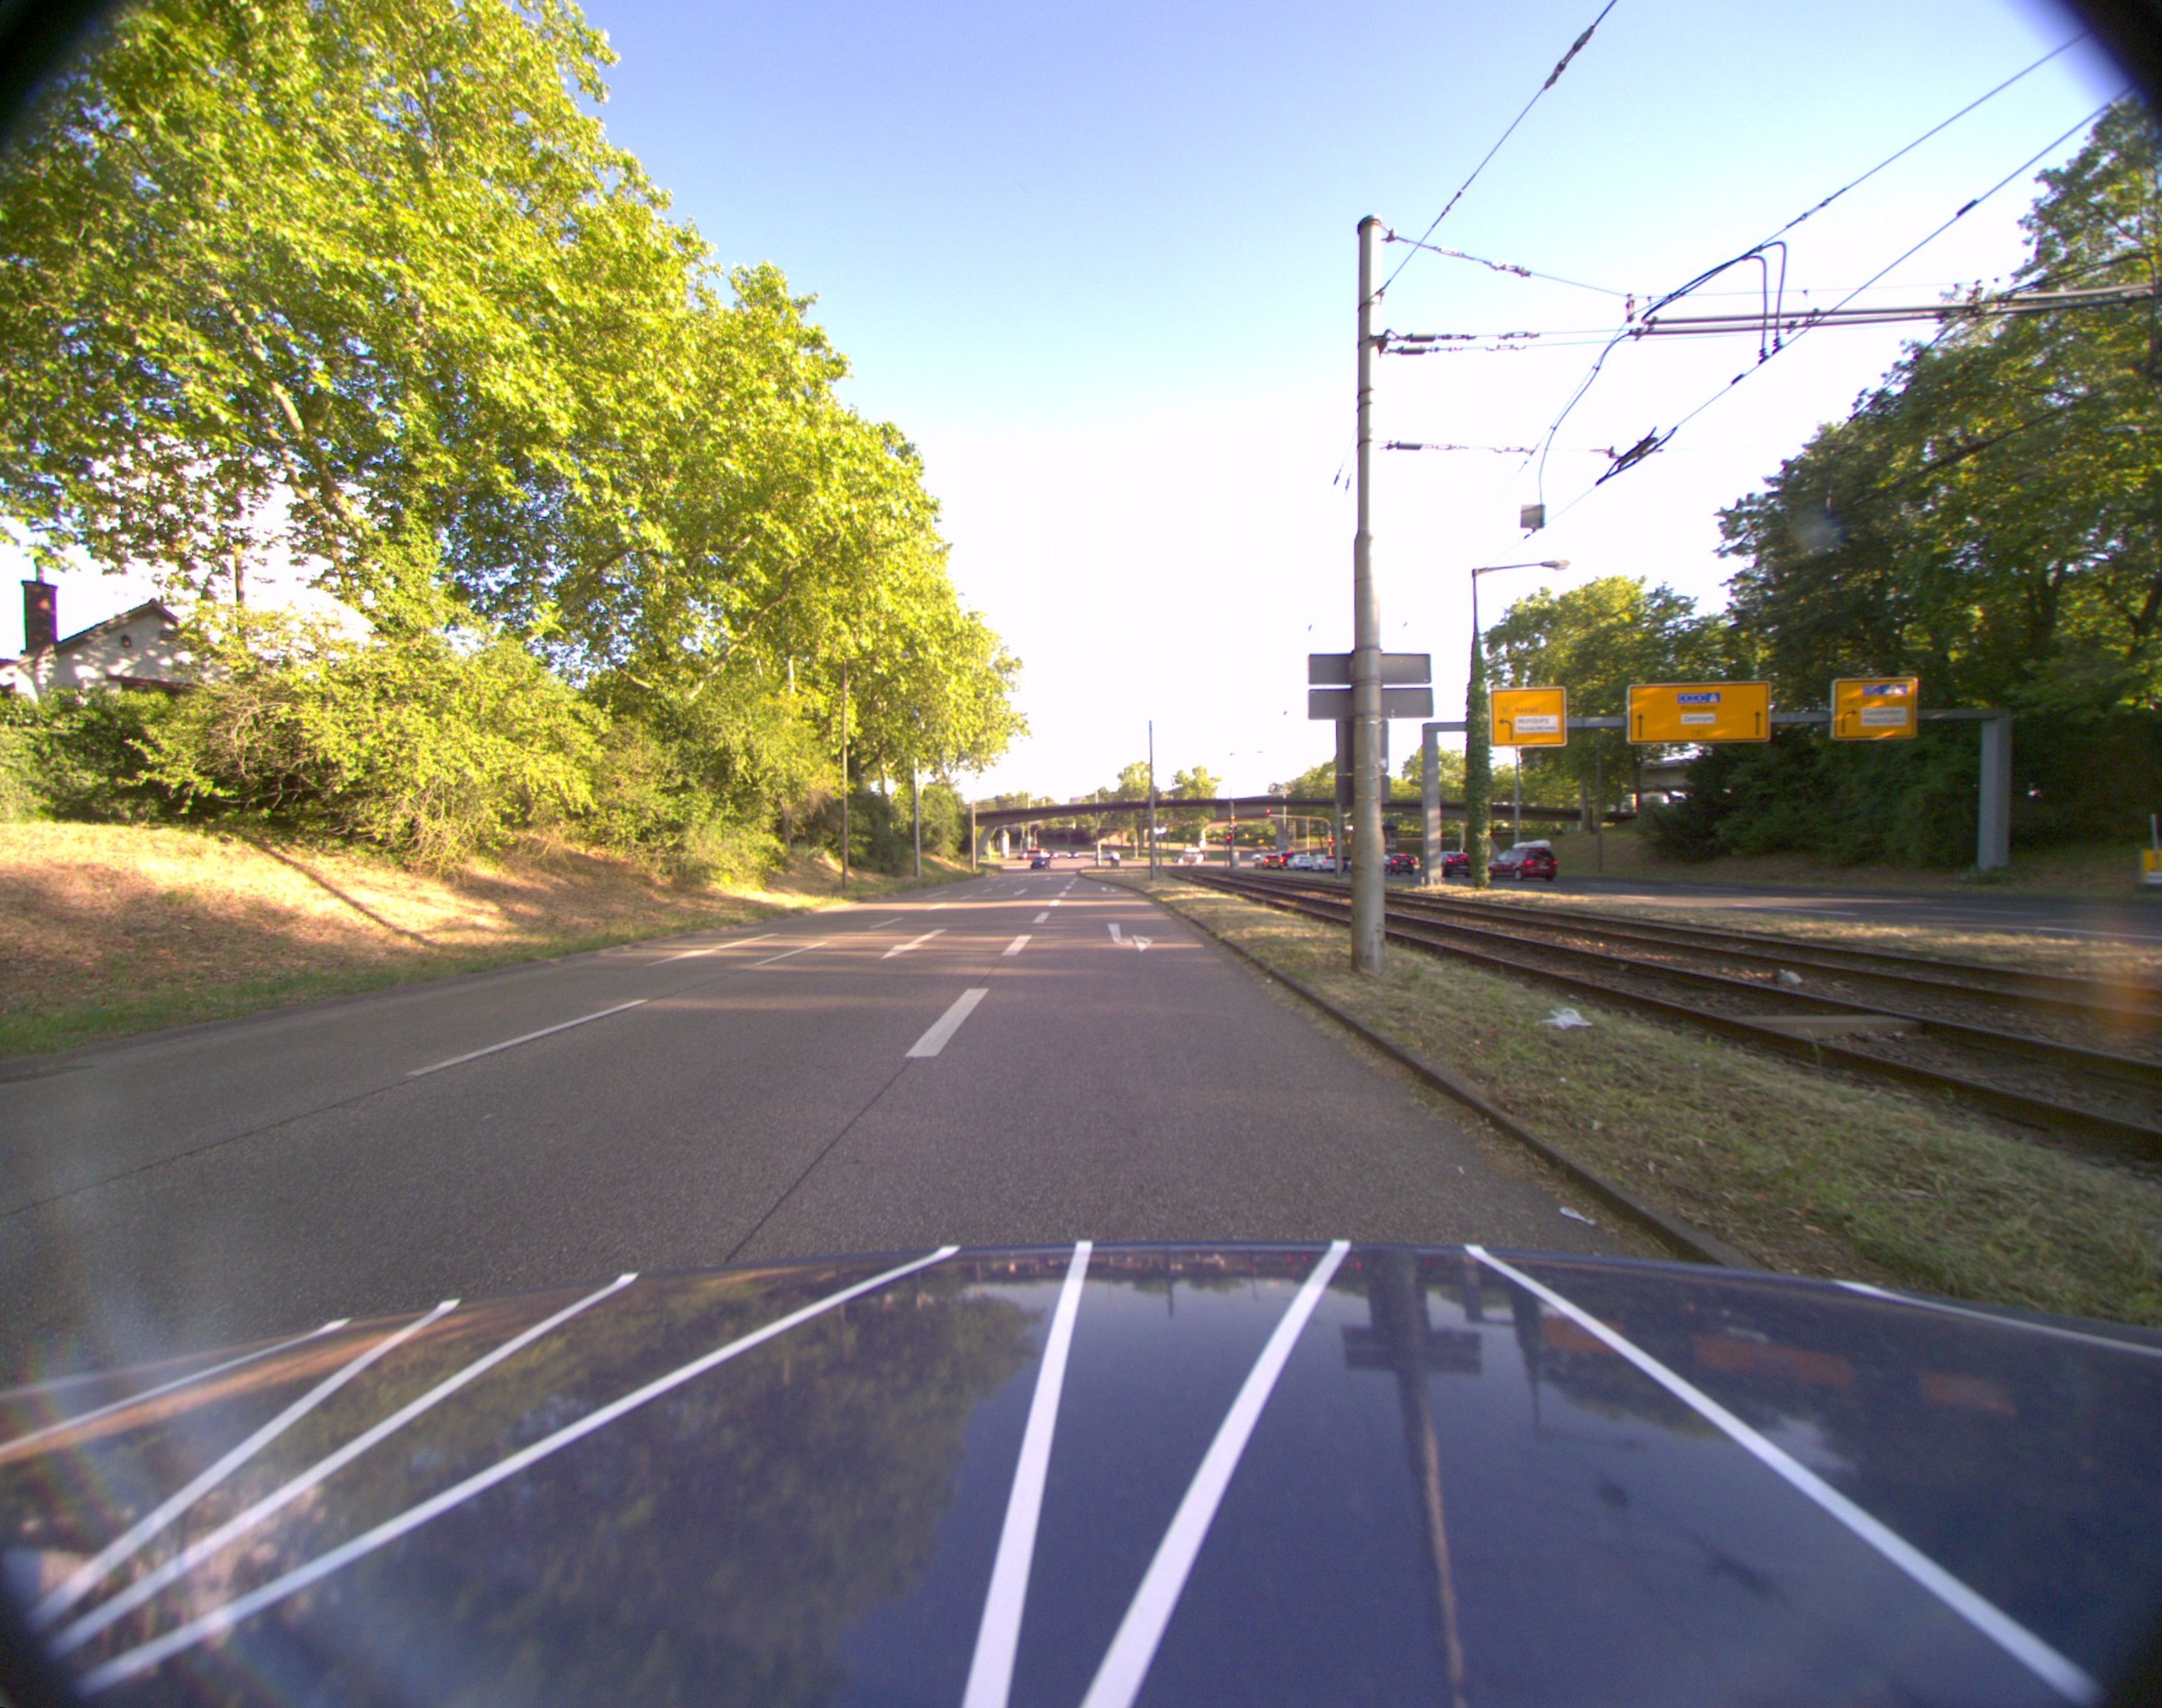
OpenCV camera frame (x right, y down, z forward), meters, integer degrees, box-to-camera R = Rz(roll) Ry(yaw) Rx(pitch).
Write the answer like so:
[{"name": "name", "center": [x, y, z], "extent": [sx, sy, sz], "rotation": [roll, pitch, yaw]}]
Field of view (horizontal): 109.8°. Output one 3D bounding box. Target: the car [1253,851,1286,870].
[{"name": "car", "center": [16.153, 0.503, 65.241], "extent": [1.767, 1.535, 4.000], "rotation": [-1, 0, 0]}]

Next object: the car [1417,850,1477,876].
[{"name": "car", "center": [22.906, 0.503, 47.678], "extent": [1.735, 1.536, 4.334], "rotation": [-1, 0, 1]}]

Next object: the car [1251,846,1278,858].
[{"name": "car", "center": [26.947, -0.299, 111.787], "extent": [3.806, 1.570, 1.678], "rotation": [-2, 1, 13]}]

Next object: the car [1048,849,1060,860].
[{"name": "car", "center": [-4.890, 0.076, 139.209], "extent": [1.960, 1.779, 3.998], "rotation": [-2, 0, -5]}]

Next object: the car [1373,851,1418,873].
[{"name": "car", "center": [23.150, 0.594, 55.999], "extent": [1.755, 1.548, 3.973], "rotation": [0, 0, 1]}]

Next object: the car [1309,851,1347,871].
[{"name": "car", "center": [20.033, 0.538, 61.810], "extent": [1.767, 1.535, 4.000], "rotation": [-1, 0, 0]}]

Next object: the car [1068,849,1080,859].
[{"name": "car", "center": [-1.247, 0.021, 141.885], "extent": [1.905, 1.726, 3.998], "rotation": [-2, 0, -5]}]

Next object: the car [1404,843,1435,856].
[{"name": "car", "center": [46.497, -0.633, 104.463], "extent": [3.804, 1.570, 1.679], "rotation": [-2, 1, 22]}]

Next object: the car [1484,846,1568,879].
[{"name": "car", "center": [23.219, 0.421, 39.854], "extent": [1.842, 1.625, 4.311], "rotation": [0, 0, 0]}]

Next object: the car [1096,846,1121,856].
[{"name": "car", "center": [4.544, -0.464, 124.719], "extent": [3.785, 1.491, 1.766], "rotation": [-2, 1, 18]}]

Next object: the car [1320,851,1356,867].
[{"name": "car", "center": [23.744, 0.468, 70.214], "extent": [1.868, 1.416, 4.226], "rotation": [-1, 0, 0]}]

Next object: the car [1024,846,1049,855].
[{"name": "car", "center": [-7.631, -0.643, 129.922], "extent": [3.868, 1.403, 1.814], "rotation": [-2, 1, 20]}]

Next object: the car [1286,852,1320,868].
[{"name": "car", "center": [19.969, 0.523, 68.485], "extent": [1.918, 1.416, 4.227], "rotation": [-1, 0, 2]}]

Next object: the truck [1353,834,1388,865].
[{"name": "truck", "center": [28.389, -0.443, 74.804], "extent": [2.281, 2.862, 6.886], "rotation": [-1, 0, 13]}]

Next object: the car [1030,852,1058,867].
[{"name": "car", "center": [-4.198, 0.576, 86.362], "extent": [1.760, 1.490, 3.797], "rotation": [-2, 1, 21]}]

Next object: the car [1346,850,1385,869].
[{"name": "car", "center": [23.973, 0.438, 64.077], "extent": [1.813, 1.535, 4.000], "rotation": [-1, 0, 1]}]

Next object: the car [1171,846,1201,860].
[{"name": "car", "center": [15.129, -0.161, 109.506], "extent": [3.814, 1.755, 1.675], "rotation": [-3, 1, -14]}]

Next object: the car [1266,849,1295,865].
[{"name": "car", "center": [19.588, 0.260, 74.747], "extent": [1.917, 1.540, 4.227], "rotation": [-1, 0, 4]}]
